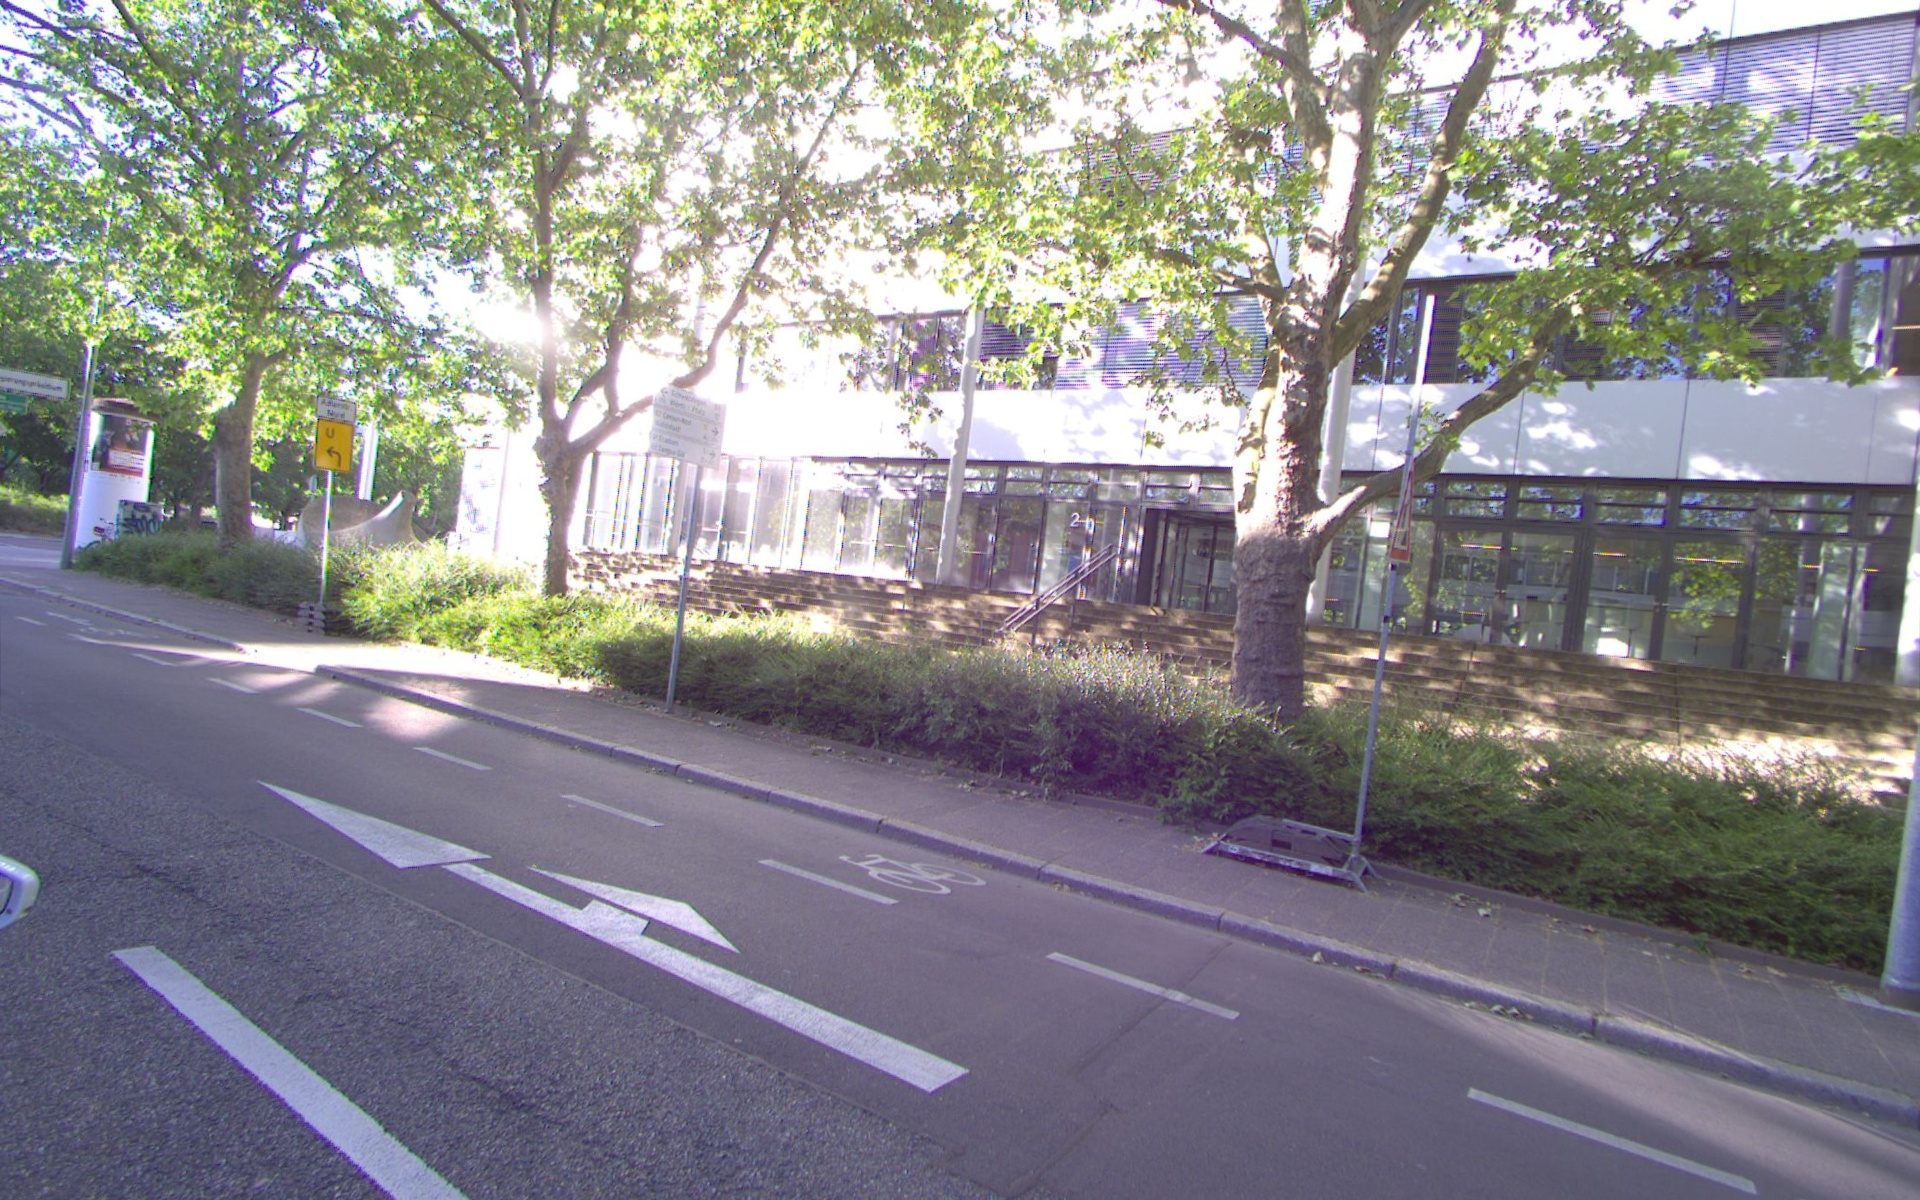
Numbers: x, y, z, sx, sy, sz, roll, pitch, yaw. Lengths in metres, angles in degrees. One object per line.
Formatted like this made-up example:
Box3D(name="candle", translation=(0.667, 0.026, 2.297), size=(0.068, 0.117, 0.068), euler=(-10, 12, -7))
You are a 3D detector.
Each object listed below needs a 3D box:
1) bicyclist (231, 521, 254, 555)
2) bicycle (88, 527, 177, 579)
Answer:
Box3D(name="bicyclist", translation=(-31.033, -2.698, 43.519), size=(0.534, 1.363, 0.523), euler=(6, -1, 35))
Box3D(name="bicycle", translation=(-19.041, -1.070, 23.174), size=(0.295, 0.991, 1.484), euler=(6, -2, 37))
